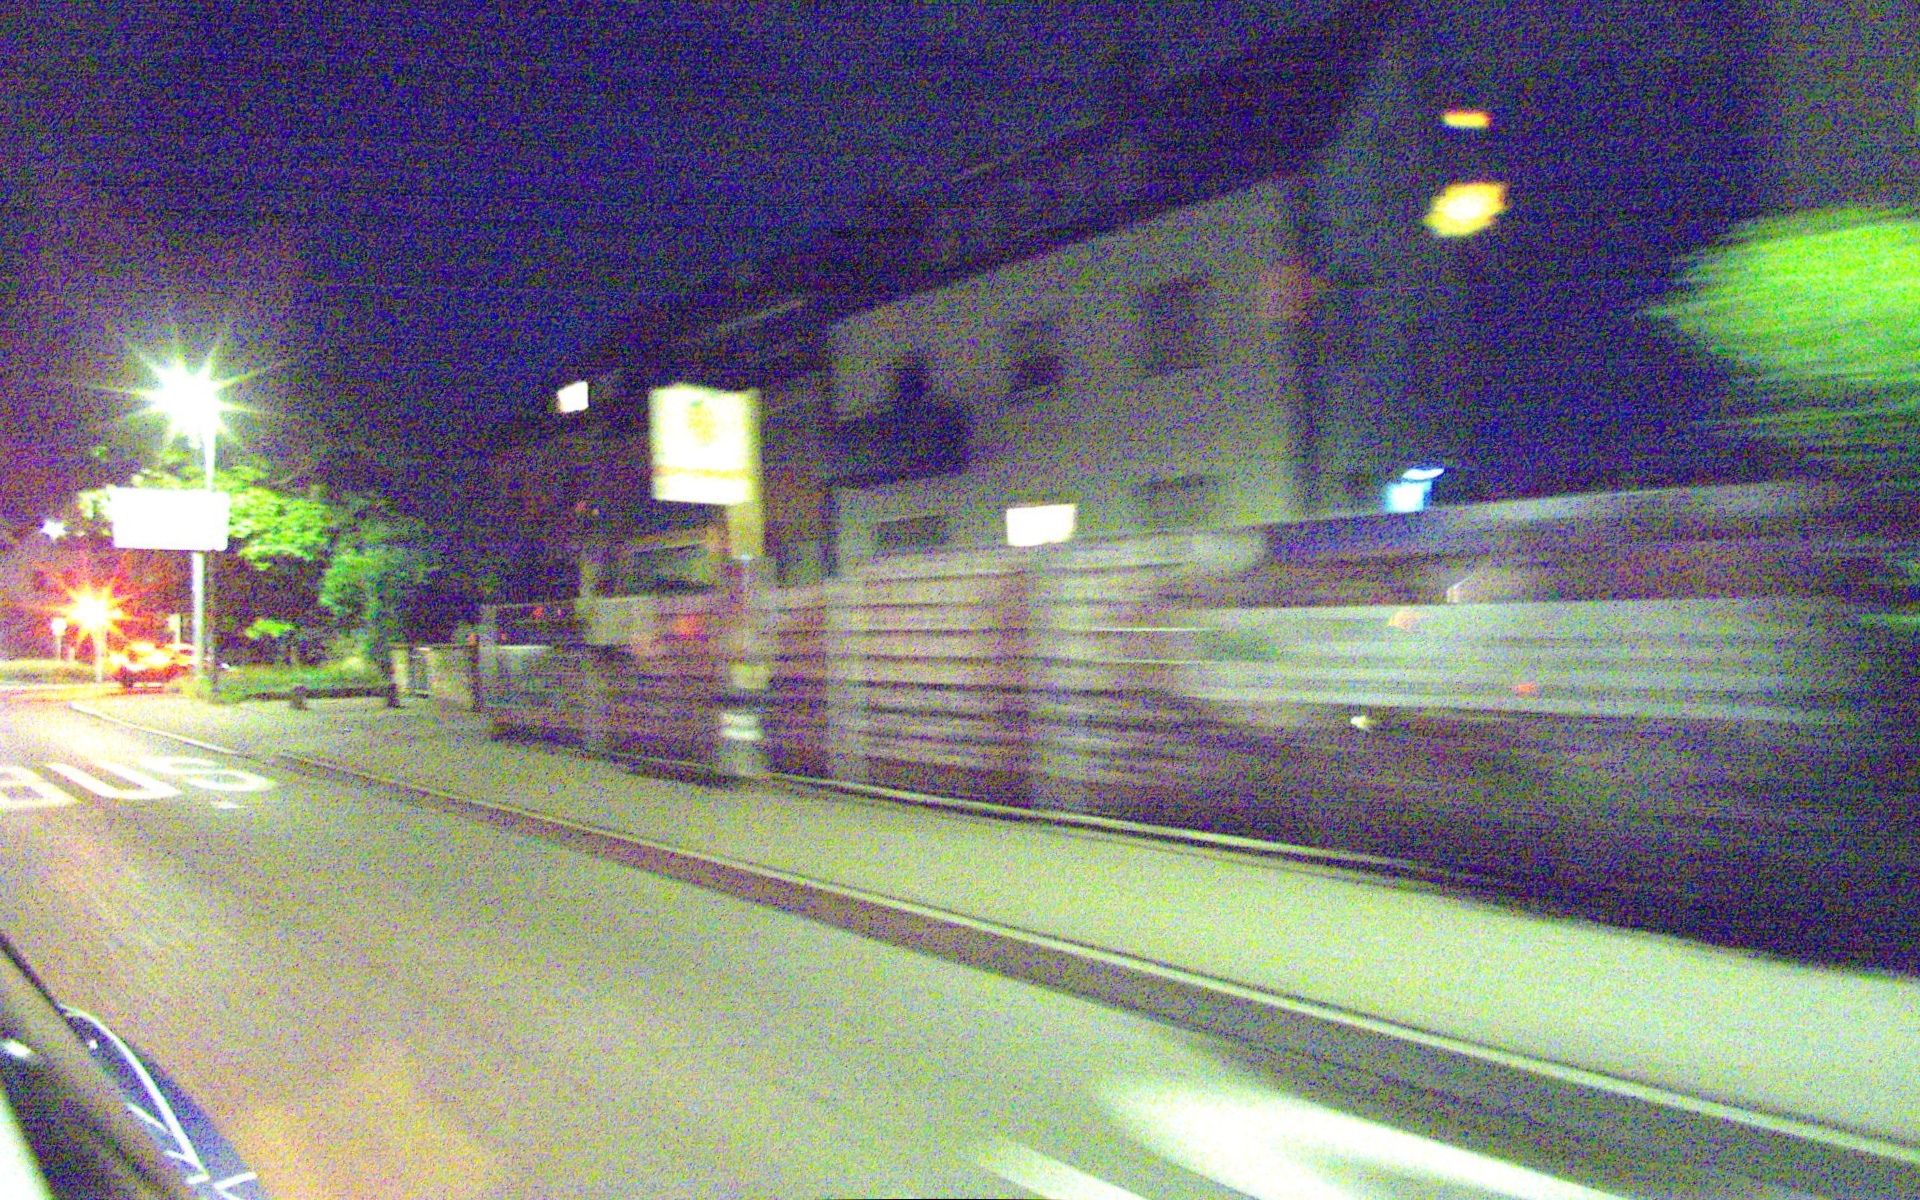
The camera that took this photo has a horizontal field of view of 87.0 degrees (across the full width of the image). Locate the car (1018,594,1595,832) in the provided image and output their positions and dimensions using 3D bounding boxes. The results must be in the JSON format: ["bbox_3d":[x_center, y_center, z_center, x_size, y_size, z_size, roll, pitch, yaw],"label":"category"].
[{"bbox_3d":[2.681,0.745,8.149,3.992,1.450,1.957,-2,-1,36],"label":"car"}]

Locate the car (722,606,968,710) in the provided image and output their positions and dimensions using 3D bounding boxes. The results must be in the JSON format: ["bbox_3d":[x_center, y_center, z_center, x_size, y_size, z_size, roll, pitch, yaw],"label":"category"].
[{"bbox_3d":[-1.966,0.904,16.400,4.122,1.470,1.707,-3,-3,43],"label":"car"}]

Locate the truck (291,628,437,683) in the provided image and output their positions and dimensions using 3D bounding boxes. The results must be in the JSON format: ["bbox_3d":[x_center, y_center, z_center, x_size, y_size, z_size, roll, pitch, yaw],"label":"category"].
[{"bbox_3d":[-35.482,3.266,60.446,6.930,3.067,2.775,1,-1,-4],"label":"truck"}]

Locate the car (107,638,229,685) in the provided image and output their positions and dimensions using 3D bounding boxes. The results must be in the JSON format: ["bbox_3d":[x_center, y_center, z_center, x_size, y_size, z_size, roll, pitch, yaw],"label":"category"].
[{"bbox_3d":[-27.843,2.127,35.762,1.703,1.440,4.300,-1,-1,-12],"label":"car"}]
